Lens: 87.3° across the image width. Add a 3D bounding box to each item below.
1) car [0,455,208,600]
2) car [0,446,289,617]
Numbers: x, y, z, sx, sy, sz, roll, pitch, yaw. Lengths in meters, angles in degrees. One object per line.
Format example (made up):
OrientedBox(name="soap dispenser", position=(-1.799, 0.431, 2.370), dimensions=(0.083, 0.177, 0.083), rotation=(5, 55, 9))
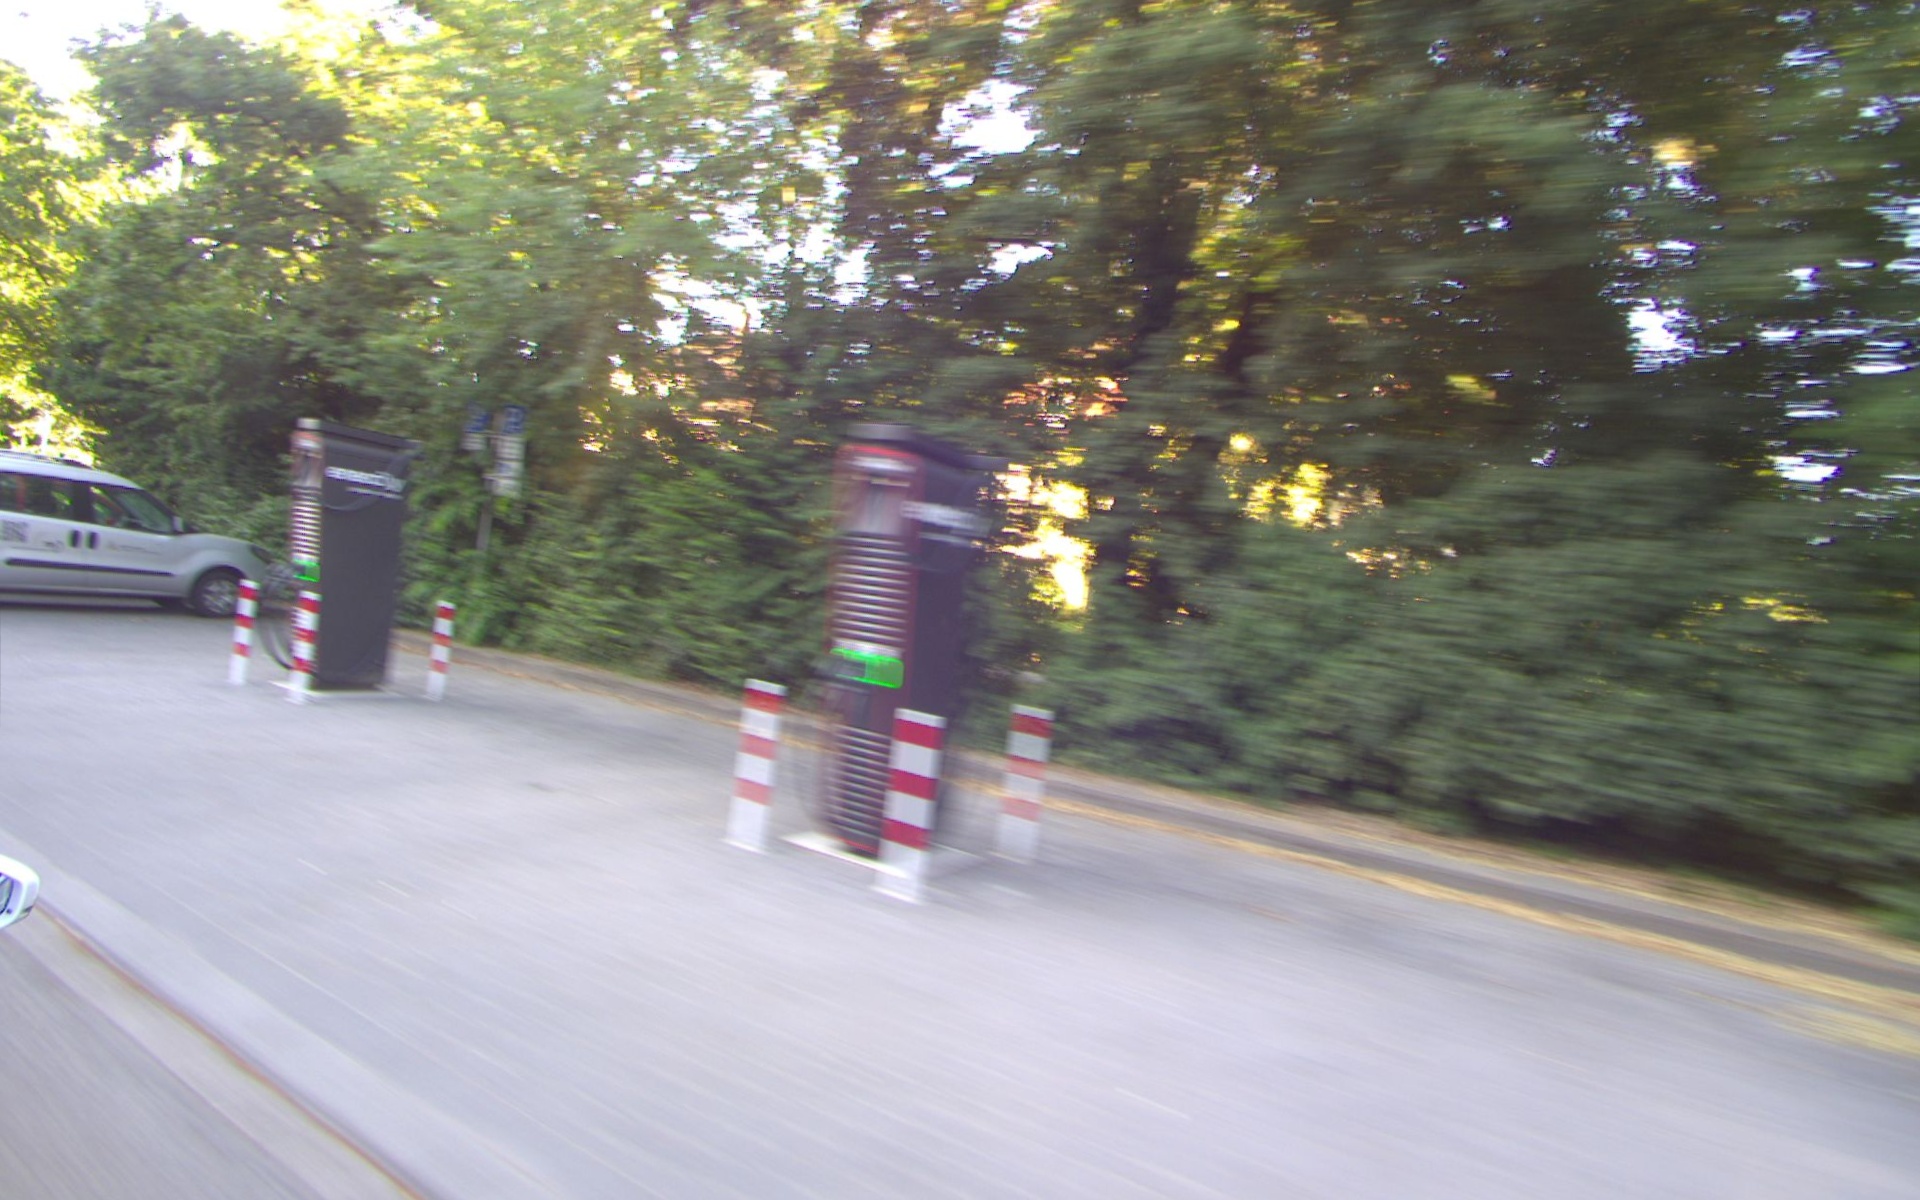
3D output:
OrientedBox(name="car", position=(-13.675, -1.114, 14.616), dimensions=(1.588, 1.859, 4.025), rotation=(7, 1, 33))
OrientedBox(name="car", position=(-11.611, -0.902, 13.131), dimensions=(1.968, 1.883, 4.230), rotation=(7, 1, 33))
